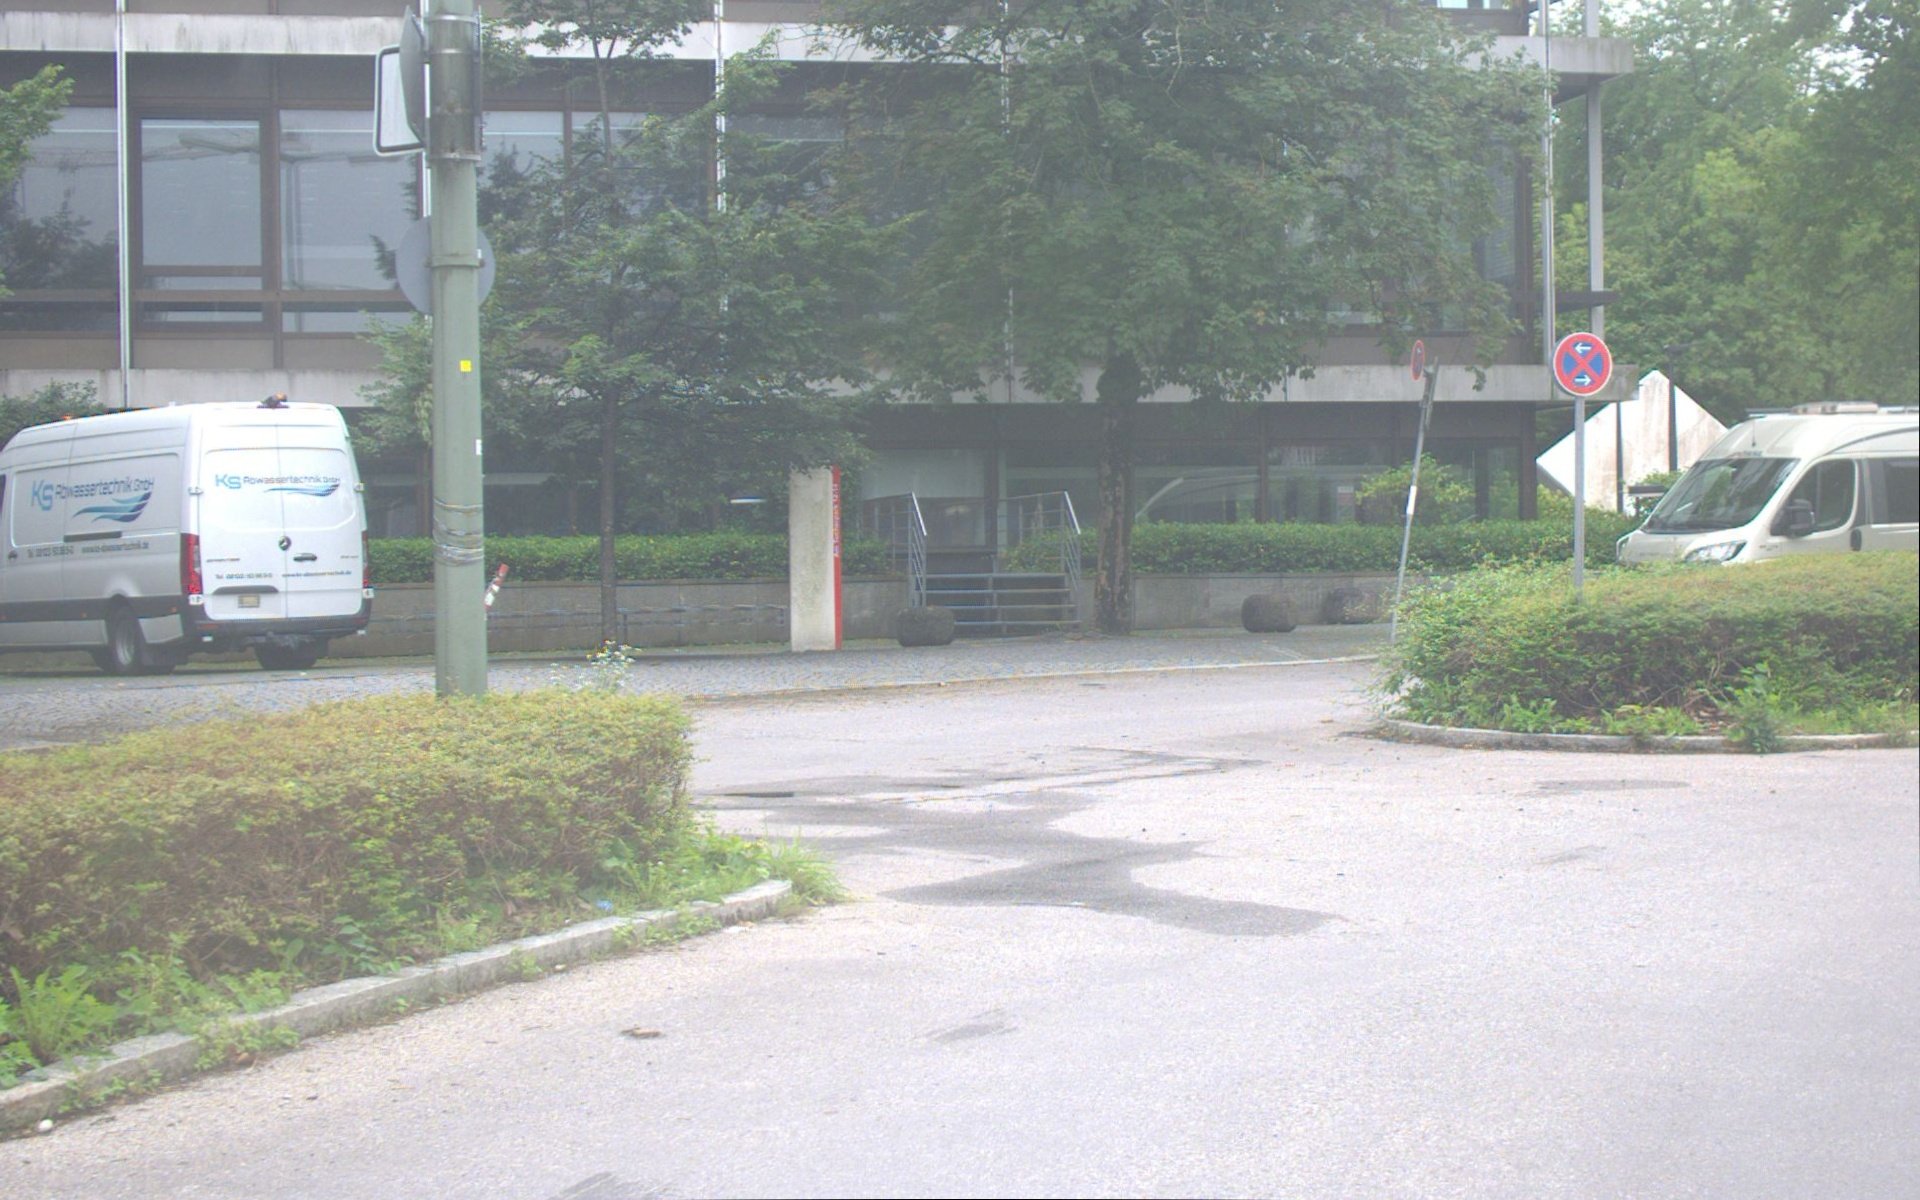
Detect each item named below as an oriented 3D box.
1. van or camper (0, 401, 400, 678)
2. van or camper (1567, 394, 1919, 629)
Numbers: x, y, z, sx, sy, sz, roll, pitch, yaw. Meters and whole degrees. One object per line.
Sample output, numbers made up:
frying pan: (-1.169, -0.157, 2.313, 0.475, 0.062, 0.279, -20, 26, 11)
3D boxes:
van or camper: (-8.267, -0.512, 35.088, 2.156, 2.572, 6.537, -1, -1, -37)
van or camper: (9.625, -0.924, 35.763, 6.397, 2.273, 2.255, -1, 1, -26)
